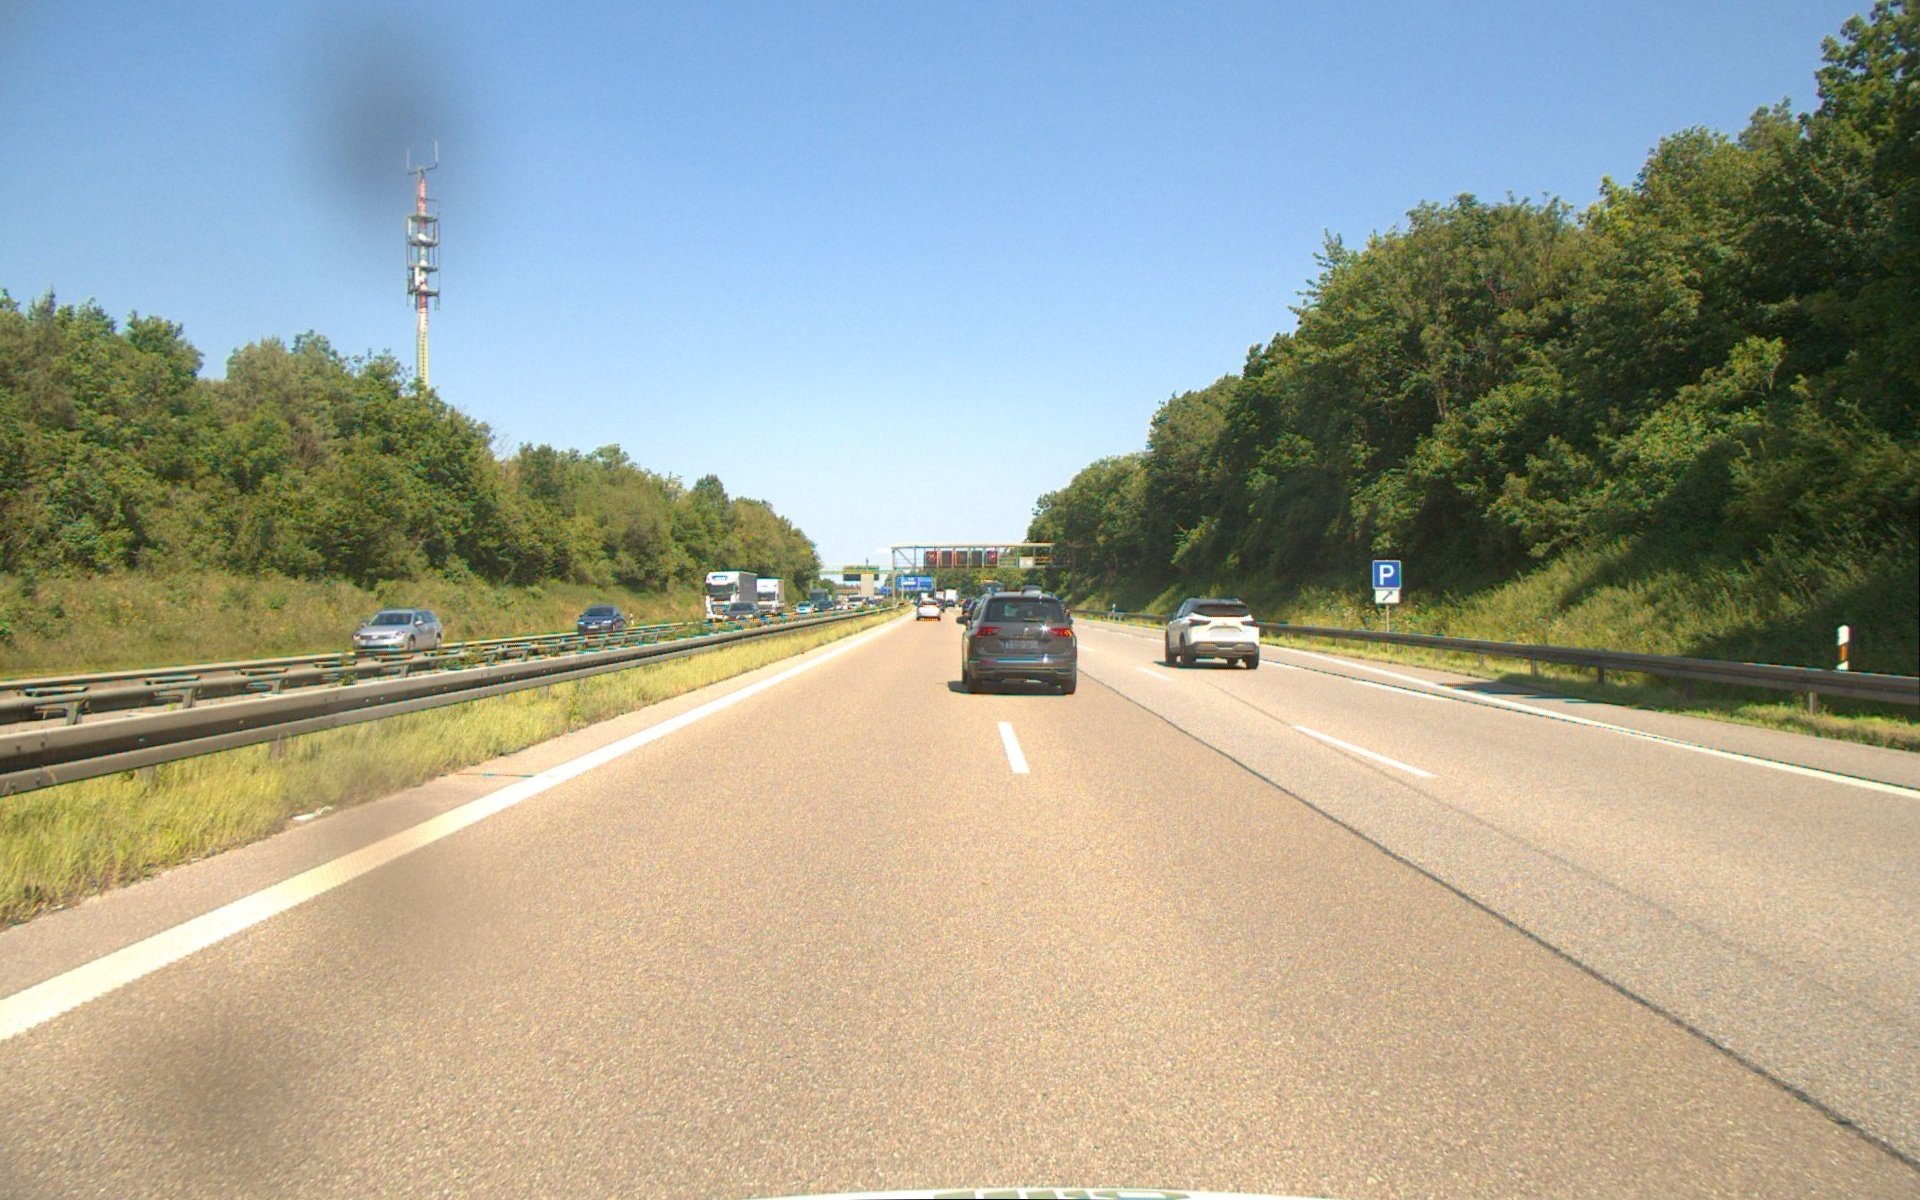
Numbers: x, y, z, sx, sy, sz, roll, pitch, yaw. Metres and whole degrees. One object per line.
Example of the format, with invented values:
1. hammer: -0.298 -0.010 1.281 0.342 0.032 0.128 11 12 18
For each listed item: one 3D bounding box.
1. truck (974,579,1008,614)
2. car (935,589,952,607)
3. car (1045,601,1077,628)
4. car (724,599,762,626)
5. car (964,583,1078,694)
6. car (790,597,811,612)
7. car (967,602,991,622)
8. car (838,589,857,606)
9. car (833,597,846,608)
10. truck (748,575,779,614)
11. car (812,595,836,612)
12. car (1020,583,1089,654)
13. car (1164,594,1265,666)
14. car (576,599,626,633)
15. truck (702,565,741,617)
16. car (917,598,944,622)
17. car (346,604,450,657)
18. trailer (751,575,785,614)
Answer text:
1. truck: 3.976 -0.429 215.782 3.704 4.499 14.044 0 0 -2
2. car: -1.958 -0.240 193.105 1.953 2.049 3.999 1 0 -1
3. car: 6.137 0.860 100.745 1.728 1.595 4.258 1 0 1
4. car: -11.544 0.658 88.177 1.455 1.380 4.417 -1 0 -1
5. car: 0.981 0.594 28.021 1.762 1.698 4.258 1 0 1
6. car: -16.024 0.456 166.130 1.678 1.443 4.503 -1 0 -1
7. car: 1.393 0.865 123.036 1.728 1.406 4.258 1 0 1
8. car: -13.631 -0.310 200.051 1.889 2.015 5.233 -3 0 -1
9. car: -16.858 0.357 231.481 1.641 1.522 3.544 -1 0 -1
10. truck: -20.044 -0.587 169.132 2.648 3.876 3.999 -2 0 -1
11. car: -12.076 0.315 146.793 1.770 1.430 4.818 -1 0 -1
12. car: 2.652 0.498 47.381 1.631 1.909 4.826 -1 0 -1
13. car: 6.064 0.677 39.814 1.805 1.595 4.036 1 0 1
14. car: -17.714 0.766 81.764 1.563 1.595 4.368 -3 0 -1
15. truck: -19.627 -0.733 136.137 2.562 4.129 3.999 -2 0 -1
16. car: -2.098 0.690 117.197 1.728 1.595 4.258 1 0 1
17. car: -17.997 0.944 53.218 1.595 1.518 4.941 -3 0 0
18. trailer: -20.126 -0.588 173.401 2.657 3.876 7.691 -2 0 -1
